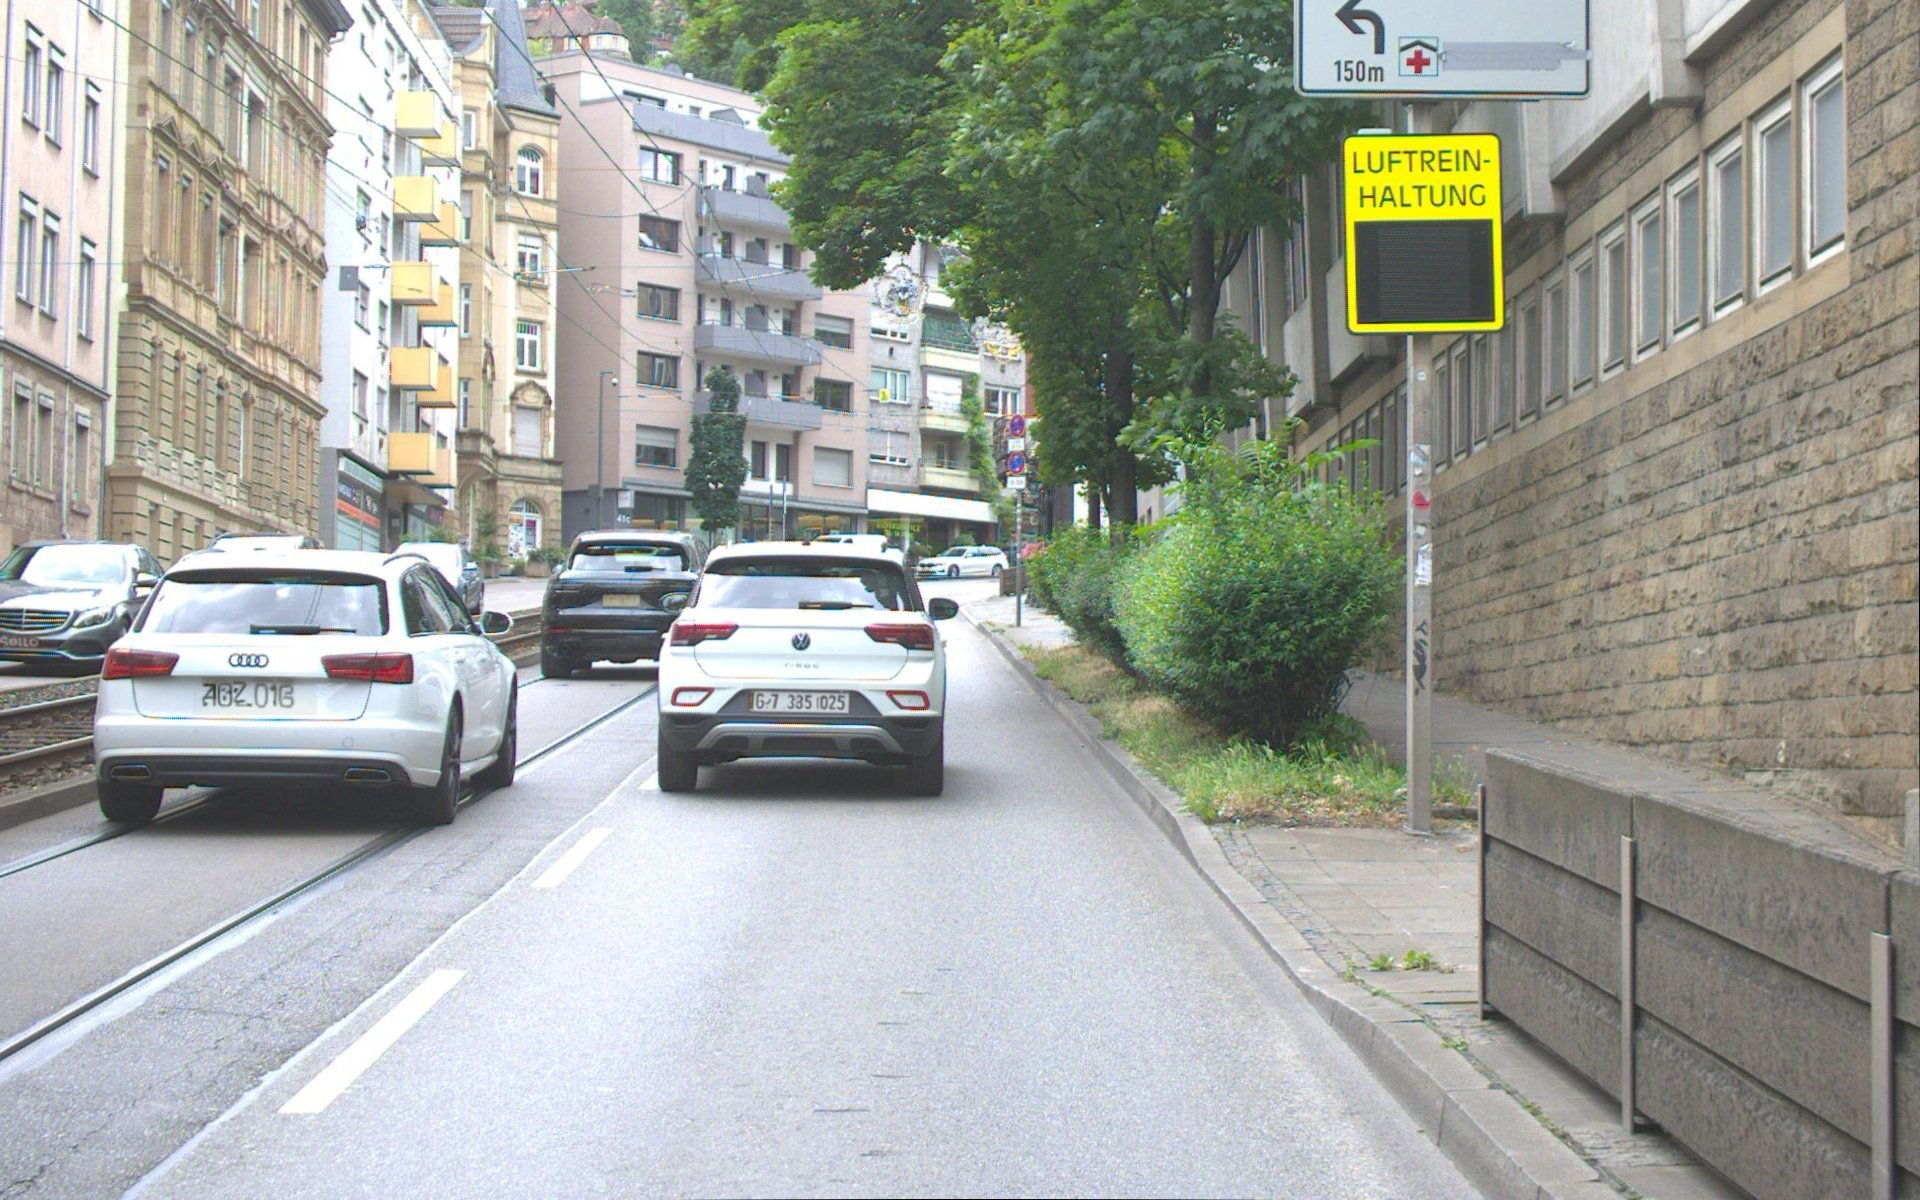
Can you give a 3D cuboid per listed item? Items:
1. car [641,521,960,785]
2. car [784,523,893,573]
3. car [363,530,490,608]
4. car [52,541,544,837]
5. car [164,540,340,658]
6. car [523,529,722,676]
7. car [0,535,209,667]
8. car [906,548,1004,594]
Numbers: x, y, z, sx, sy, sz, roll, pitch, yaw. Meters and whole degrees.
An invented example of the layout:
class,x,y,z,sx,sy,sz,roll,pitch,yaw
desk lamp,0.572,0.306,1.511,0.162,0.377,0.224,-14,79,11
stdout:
class,x,y,z,sx,sy,sz,roll,pitch,yaw
car,-1.058,0.310,22.418,1.878,1.549,4.000,1,0,-3
car,-5.055,-2.168,144.011,1.998,2.028,4.691,2,1,38
car,-10.478,-0.632,67.741,1.843,1.450,4.661,1,1,-1
car,-3.577,0.406,19.433,1.879,1.450,4.617,1,1,0
car,-10.076,-0.043,49.170,1.743,1.590,3.969,1,1,-1
car,-3.824,-0.018,39.561,2.037,1.566,4.359,1,1,-3
car,-9.796,-0.037,38.439,1.811,1.356,4.765,1,1,-1
car,-0.182,-1.268,149.432,1.908,1.916,4.425,2,1,38
